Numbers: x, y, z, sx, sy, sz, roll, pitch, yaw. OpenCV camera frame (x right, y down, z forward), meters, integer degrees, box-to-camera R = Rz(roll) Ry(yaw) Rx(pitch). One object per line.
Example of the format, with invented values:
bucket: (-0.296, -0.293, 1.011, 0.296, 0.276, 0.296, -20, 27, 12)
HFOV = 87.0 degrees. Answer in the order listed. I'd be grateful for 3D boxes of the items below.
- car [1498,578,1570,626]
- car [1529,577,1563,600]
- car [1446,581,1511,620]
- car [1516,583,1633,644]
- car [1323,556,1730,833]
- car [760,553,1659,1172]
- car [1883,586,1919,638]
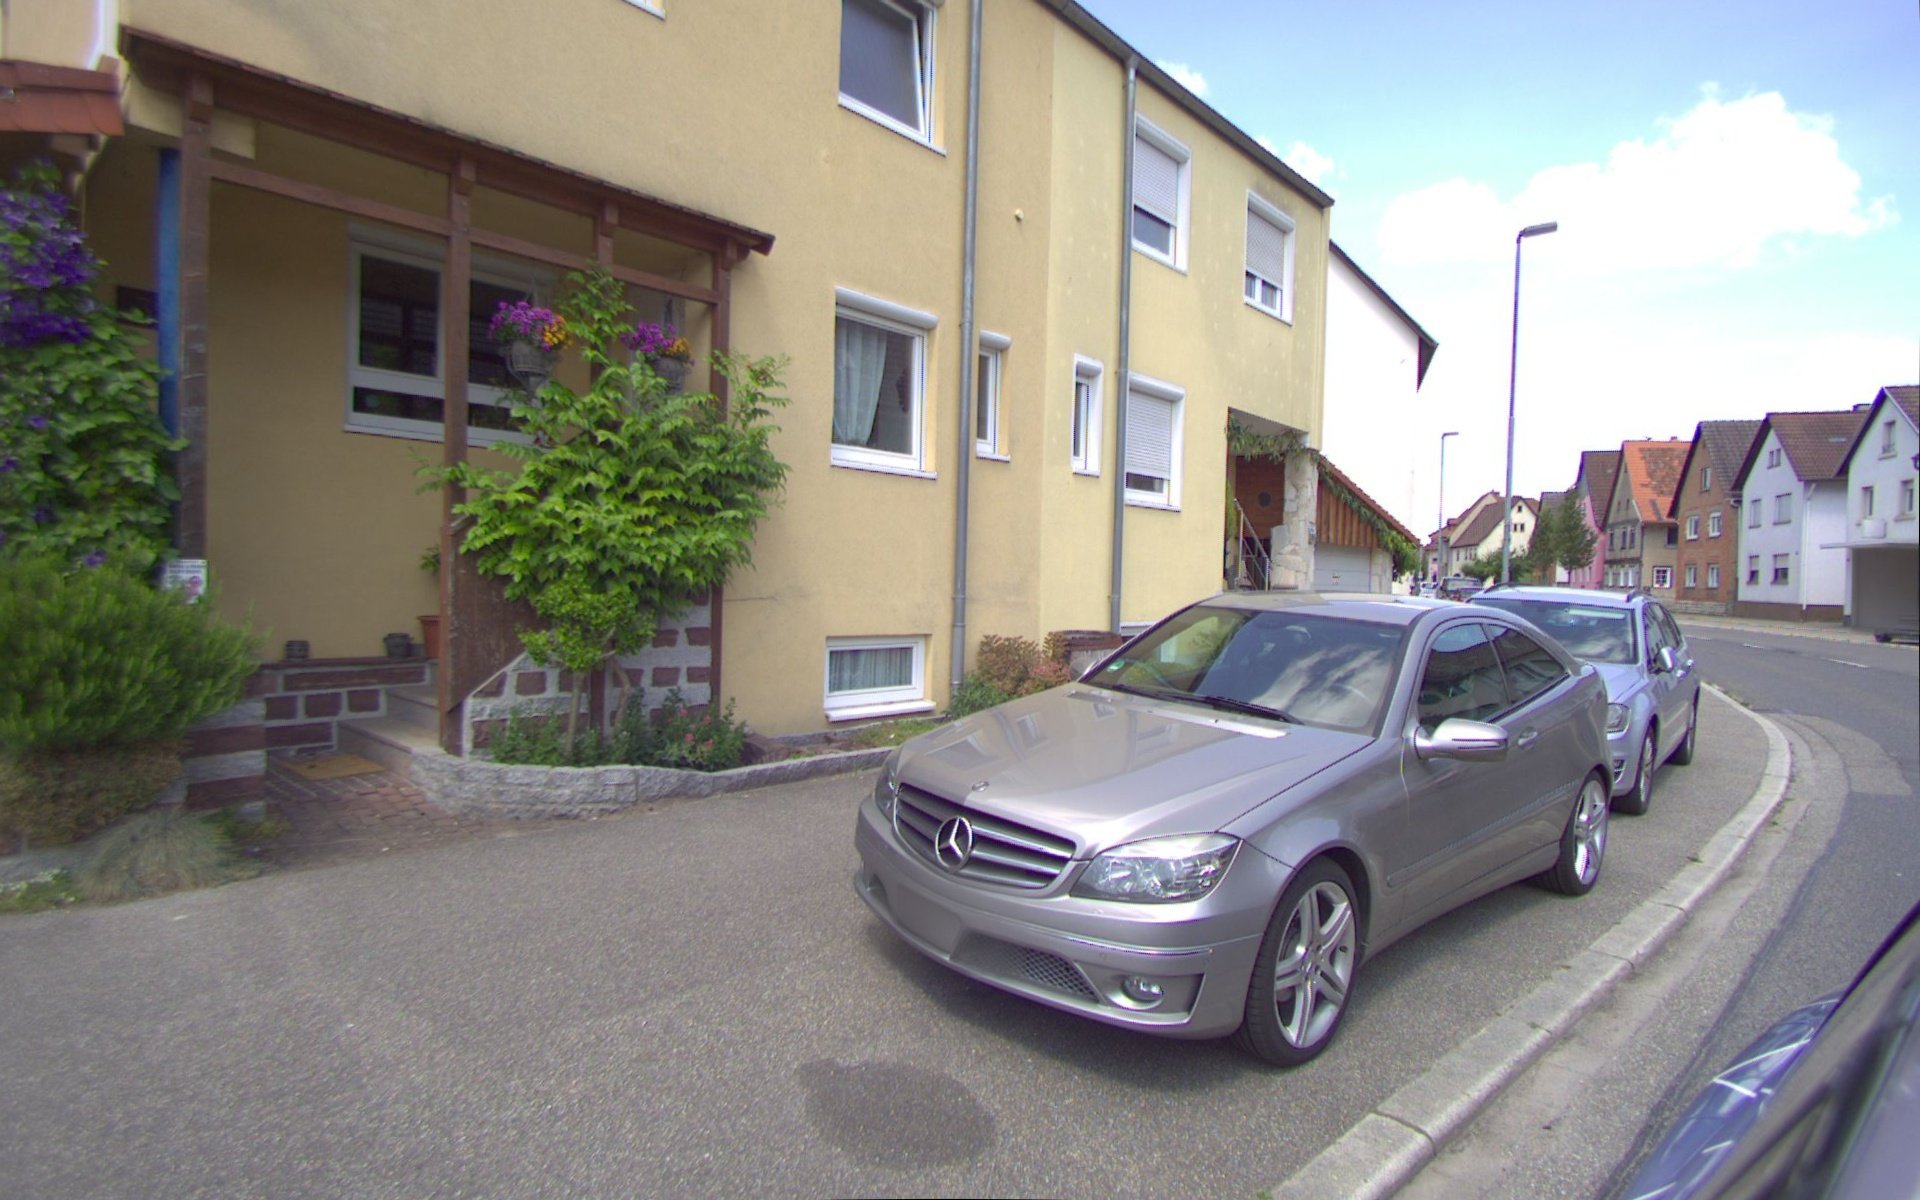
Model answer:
car: (20.187, 0.091, 35.714, 1.754, 1.549, 3.967, 1, -1, 23)
car: (43.138, -0.859, 74.577, 1.665, 1.549, 3.474, 0, 2, 22)
car: (23.131, -0.003, 45.264, 1.641, 1.668, 3.985, 0, 1, 13)
car: (16.872, 0.309, 27.990, 1.704, 1.402, 3.981, 2, 3, 16)
car: (4.755, 0.510, 8.168, 1.885, 1.548, 4.269, 5, 4, 42)
car: (1.463, 0.550, 4.539, 4.350, 1.416, 1.773, -2, 6, -43)
car: (27.453, 0.338, 27.680, 1.789, 1.438, 4.516, 0, 0, 22)
